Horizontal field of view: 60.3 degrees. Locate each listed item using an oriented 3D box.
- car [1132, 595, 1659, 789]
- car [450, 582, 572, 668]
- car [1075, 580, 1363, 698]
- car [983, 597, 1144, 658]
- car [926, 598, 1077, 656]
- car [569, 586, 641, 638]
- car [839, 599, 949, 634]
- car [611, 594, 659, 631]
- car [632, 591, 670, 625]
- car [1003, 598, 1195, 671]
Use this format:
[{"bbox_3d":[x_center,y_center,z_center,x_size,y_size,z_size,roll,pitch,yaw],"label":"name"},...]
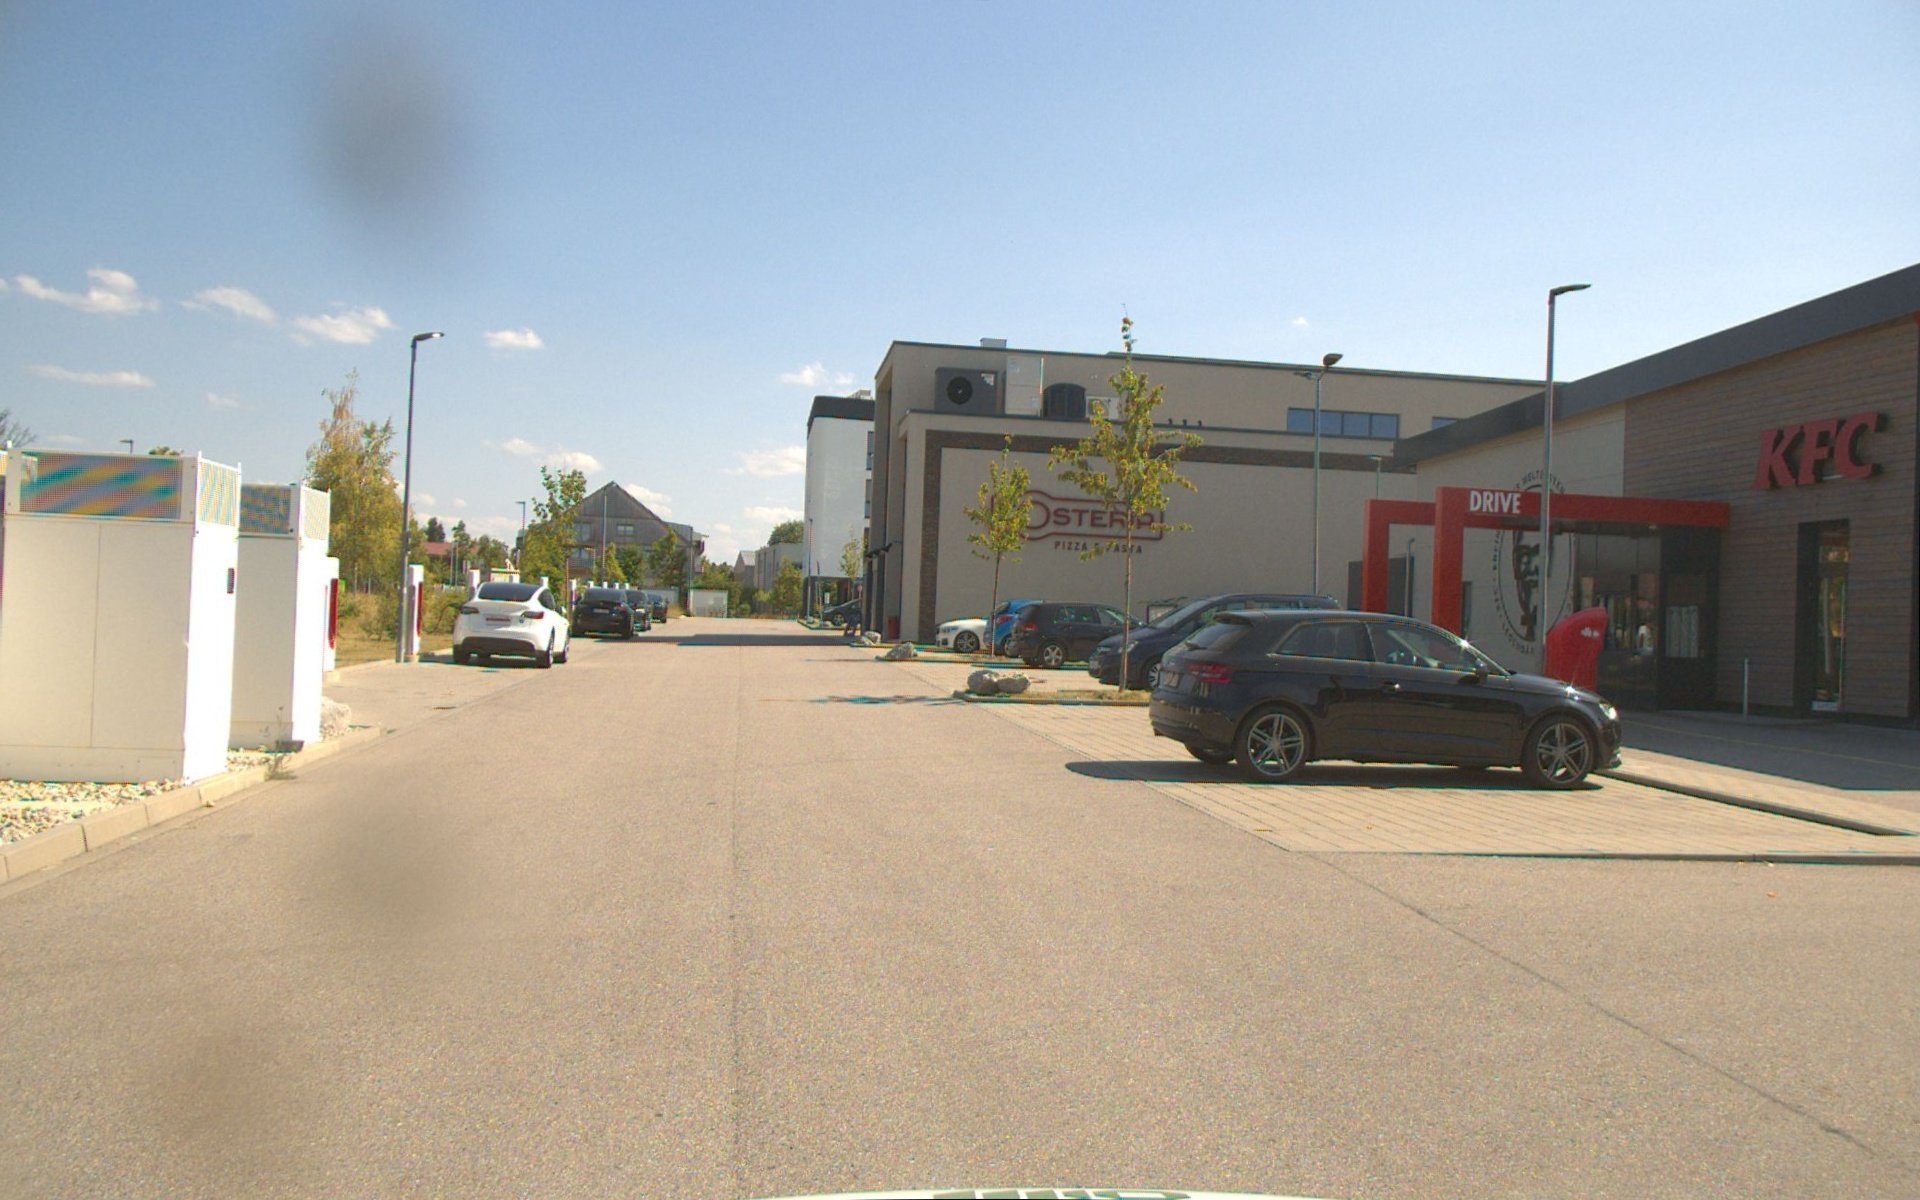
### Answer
[{"bbox_3d":[3.746,0.781,14.544,4.123,1.466,1.695,2,0,-9],"label":"car"},{"bbox_3d":[-9.170,0.483,34.052,1.909,1.596,3.992,2,0,-9],"label":"car"},{"bbox_3d":[4.187,0.623,26.886,4.294,1.715,1.636,2,0,-13],"label":"car"},{"bbox_3d":[2.719,0.720,43.704,3.916,1.445,1.646,2,0,-11],"label":"car"},{"bbox_3d":[1.134,0.736,46.187,3.916,1.445,1.646,2,0,-11],"label":"car"},{"bbox_3d":[-11.779,0.394,55.129,1.908,1.596,3.994,2,0,-7],"label":"car"},{"bbox_3d":[-2.513,0.603,62.204,3.914,1.176,1.996,2,0,-9],"label":"car"},{"bbox_3d":[-13.148,0.481,67.080,1.711,1.411,3.991,2,0,-9],"label":"car"},{"bbox_3d":[-15.649,0.377,83.871,1.711,1.596,3.991,2,0,-9],"label":"car"},{"bbox_3d":[3.059,0.762,36.743,3.916,1.445,1.646,2,0,-11],"label":"car"}]
